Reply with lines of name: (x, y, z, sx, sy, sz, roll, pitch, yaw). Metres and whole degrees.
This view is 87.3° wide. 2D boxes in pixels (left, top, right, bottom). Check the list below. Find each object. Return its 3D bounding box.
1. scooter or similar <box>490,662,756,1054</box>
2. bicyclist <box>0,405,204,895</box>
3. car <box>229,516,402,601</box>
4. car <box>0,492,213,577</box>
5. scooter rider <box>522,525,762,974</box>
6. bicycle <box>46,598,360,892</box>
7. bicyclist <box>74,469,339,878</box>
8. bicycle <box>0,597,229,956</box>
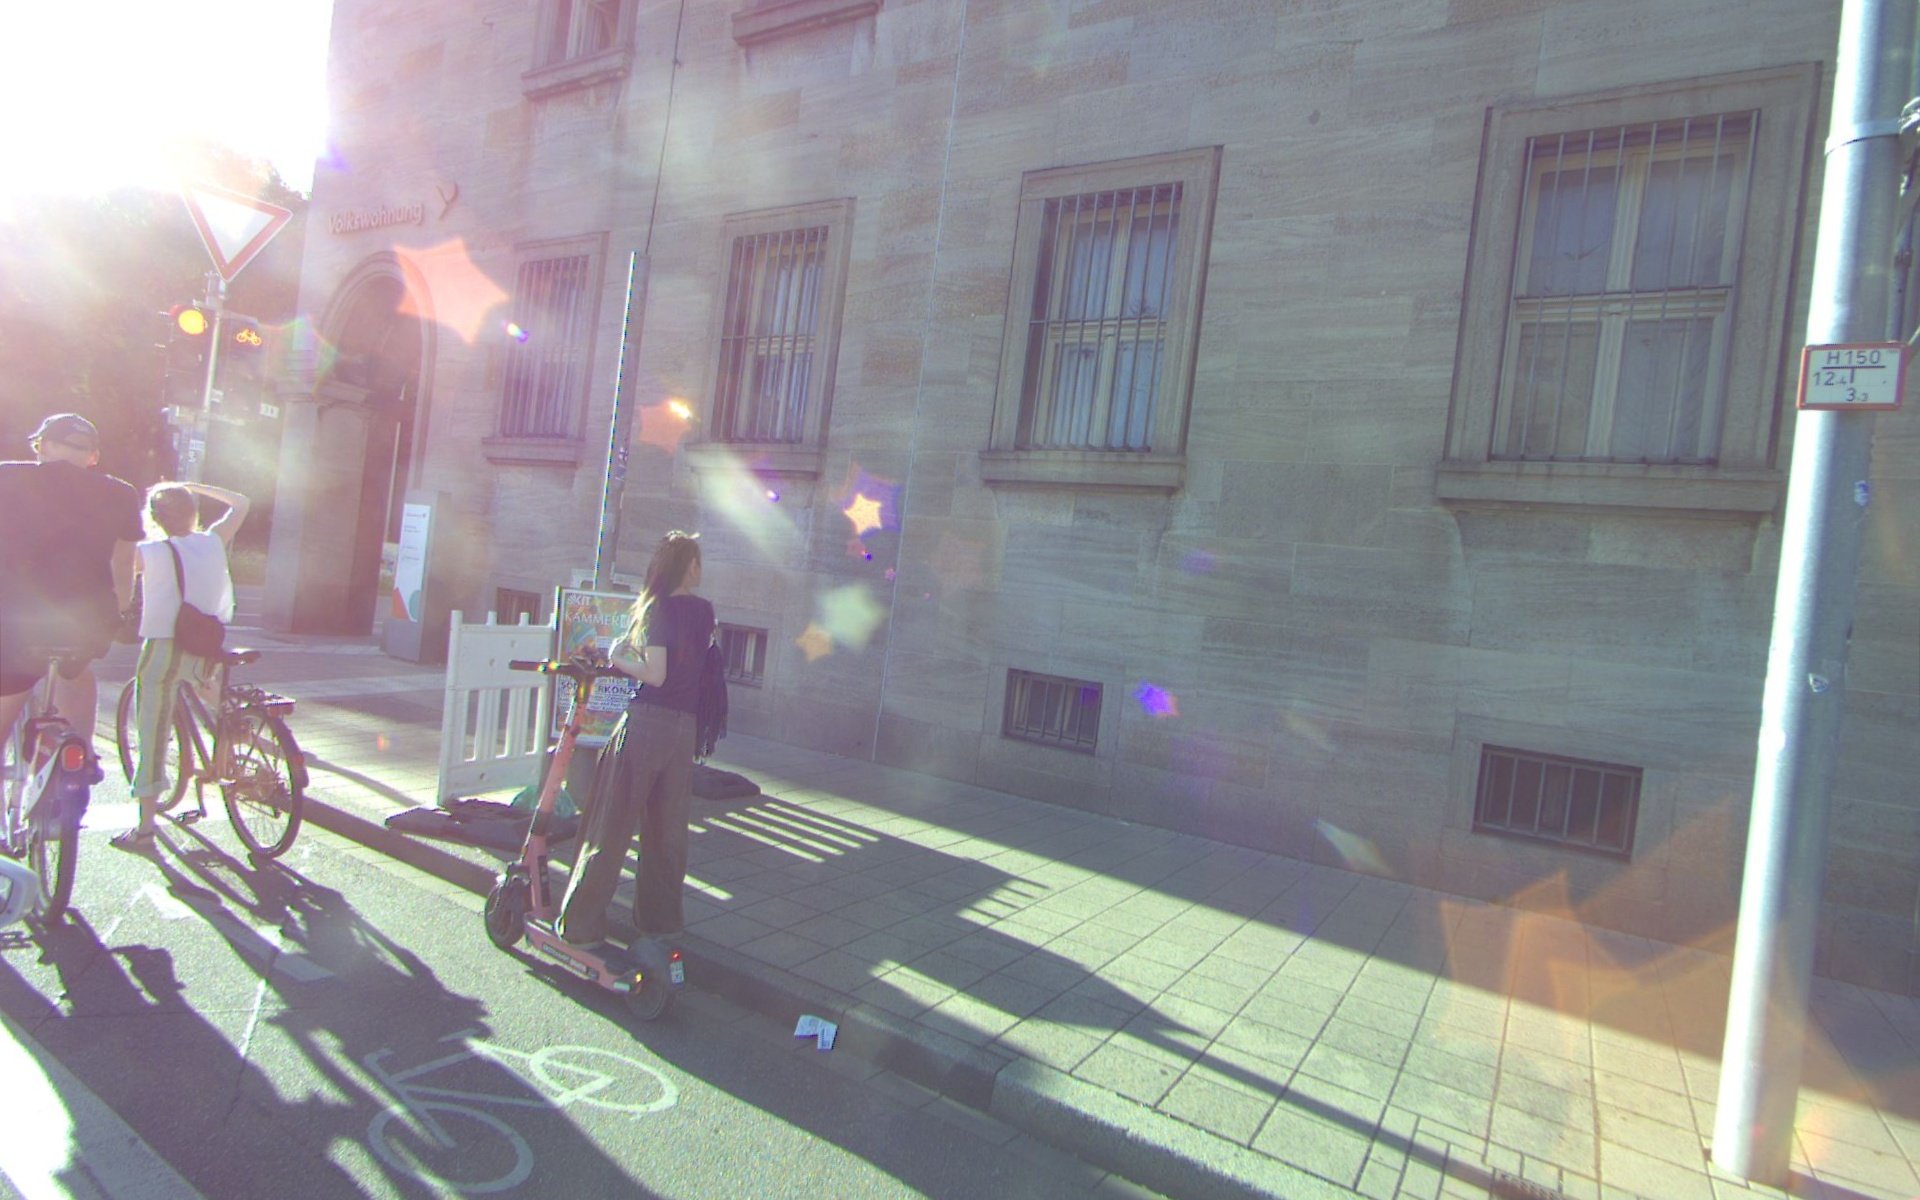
scooter or similar: (-1.399, 0.923, 4.030, 0.569, 1.164, 1.260, 7, 1, -35)
bicyclist: (-3.659, 0.165, 3.979, 0.897, 1.736, 0.624, 7, 0, 30)
car: (-20.279, -1.265, 31.800, 1.968, 2.037, 3.994, 6, -2, 33)
car: (-23.479, -1.754, 27.345, 1.967, 1.533, 4.586, 6, -2, 32)
scooter rider: (-1.245, 0.539, 3.924, 0.543, 1.581, 0.570, 7, 0, -42)
bicycle: (-3.711, 0.624, 4.882, 1.718, 1.057, 0.582, 7, 0, 33)
bicyclist: (-3.643, 0.311, 4.861, 0.934, 1.760, 0.584, 7, 0, 32)
bicycle: (-3.722, 0.586, 3.985, 1.717, 1.057, 0.624, 7, 0, 31)
